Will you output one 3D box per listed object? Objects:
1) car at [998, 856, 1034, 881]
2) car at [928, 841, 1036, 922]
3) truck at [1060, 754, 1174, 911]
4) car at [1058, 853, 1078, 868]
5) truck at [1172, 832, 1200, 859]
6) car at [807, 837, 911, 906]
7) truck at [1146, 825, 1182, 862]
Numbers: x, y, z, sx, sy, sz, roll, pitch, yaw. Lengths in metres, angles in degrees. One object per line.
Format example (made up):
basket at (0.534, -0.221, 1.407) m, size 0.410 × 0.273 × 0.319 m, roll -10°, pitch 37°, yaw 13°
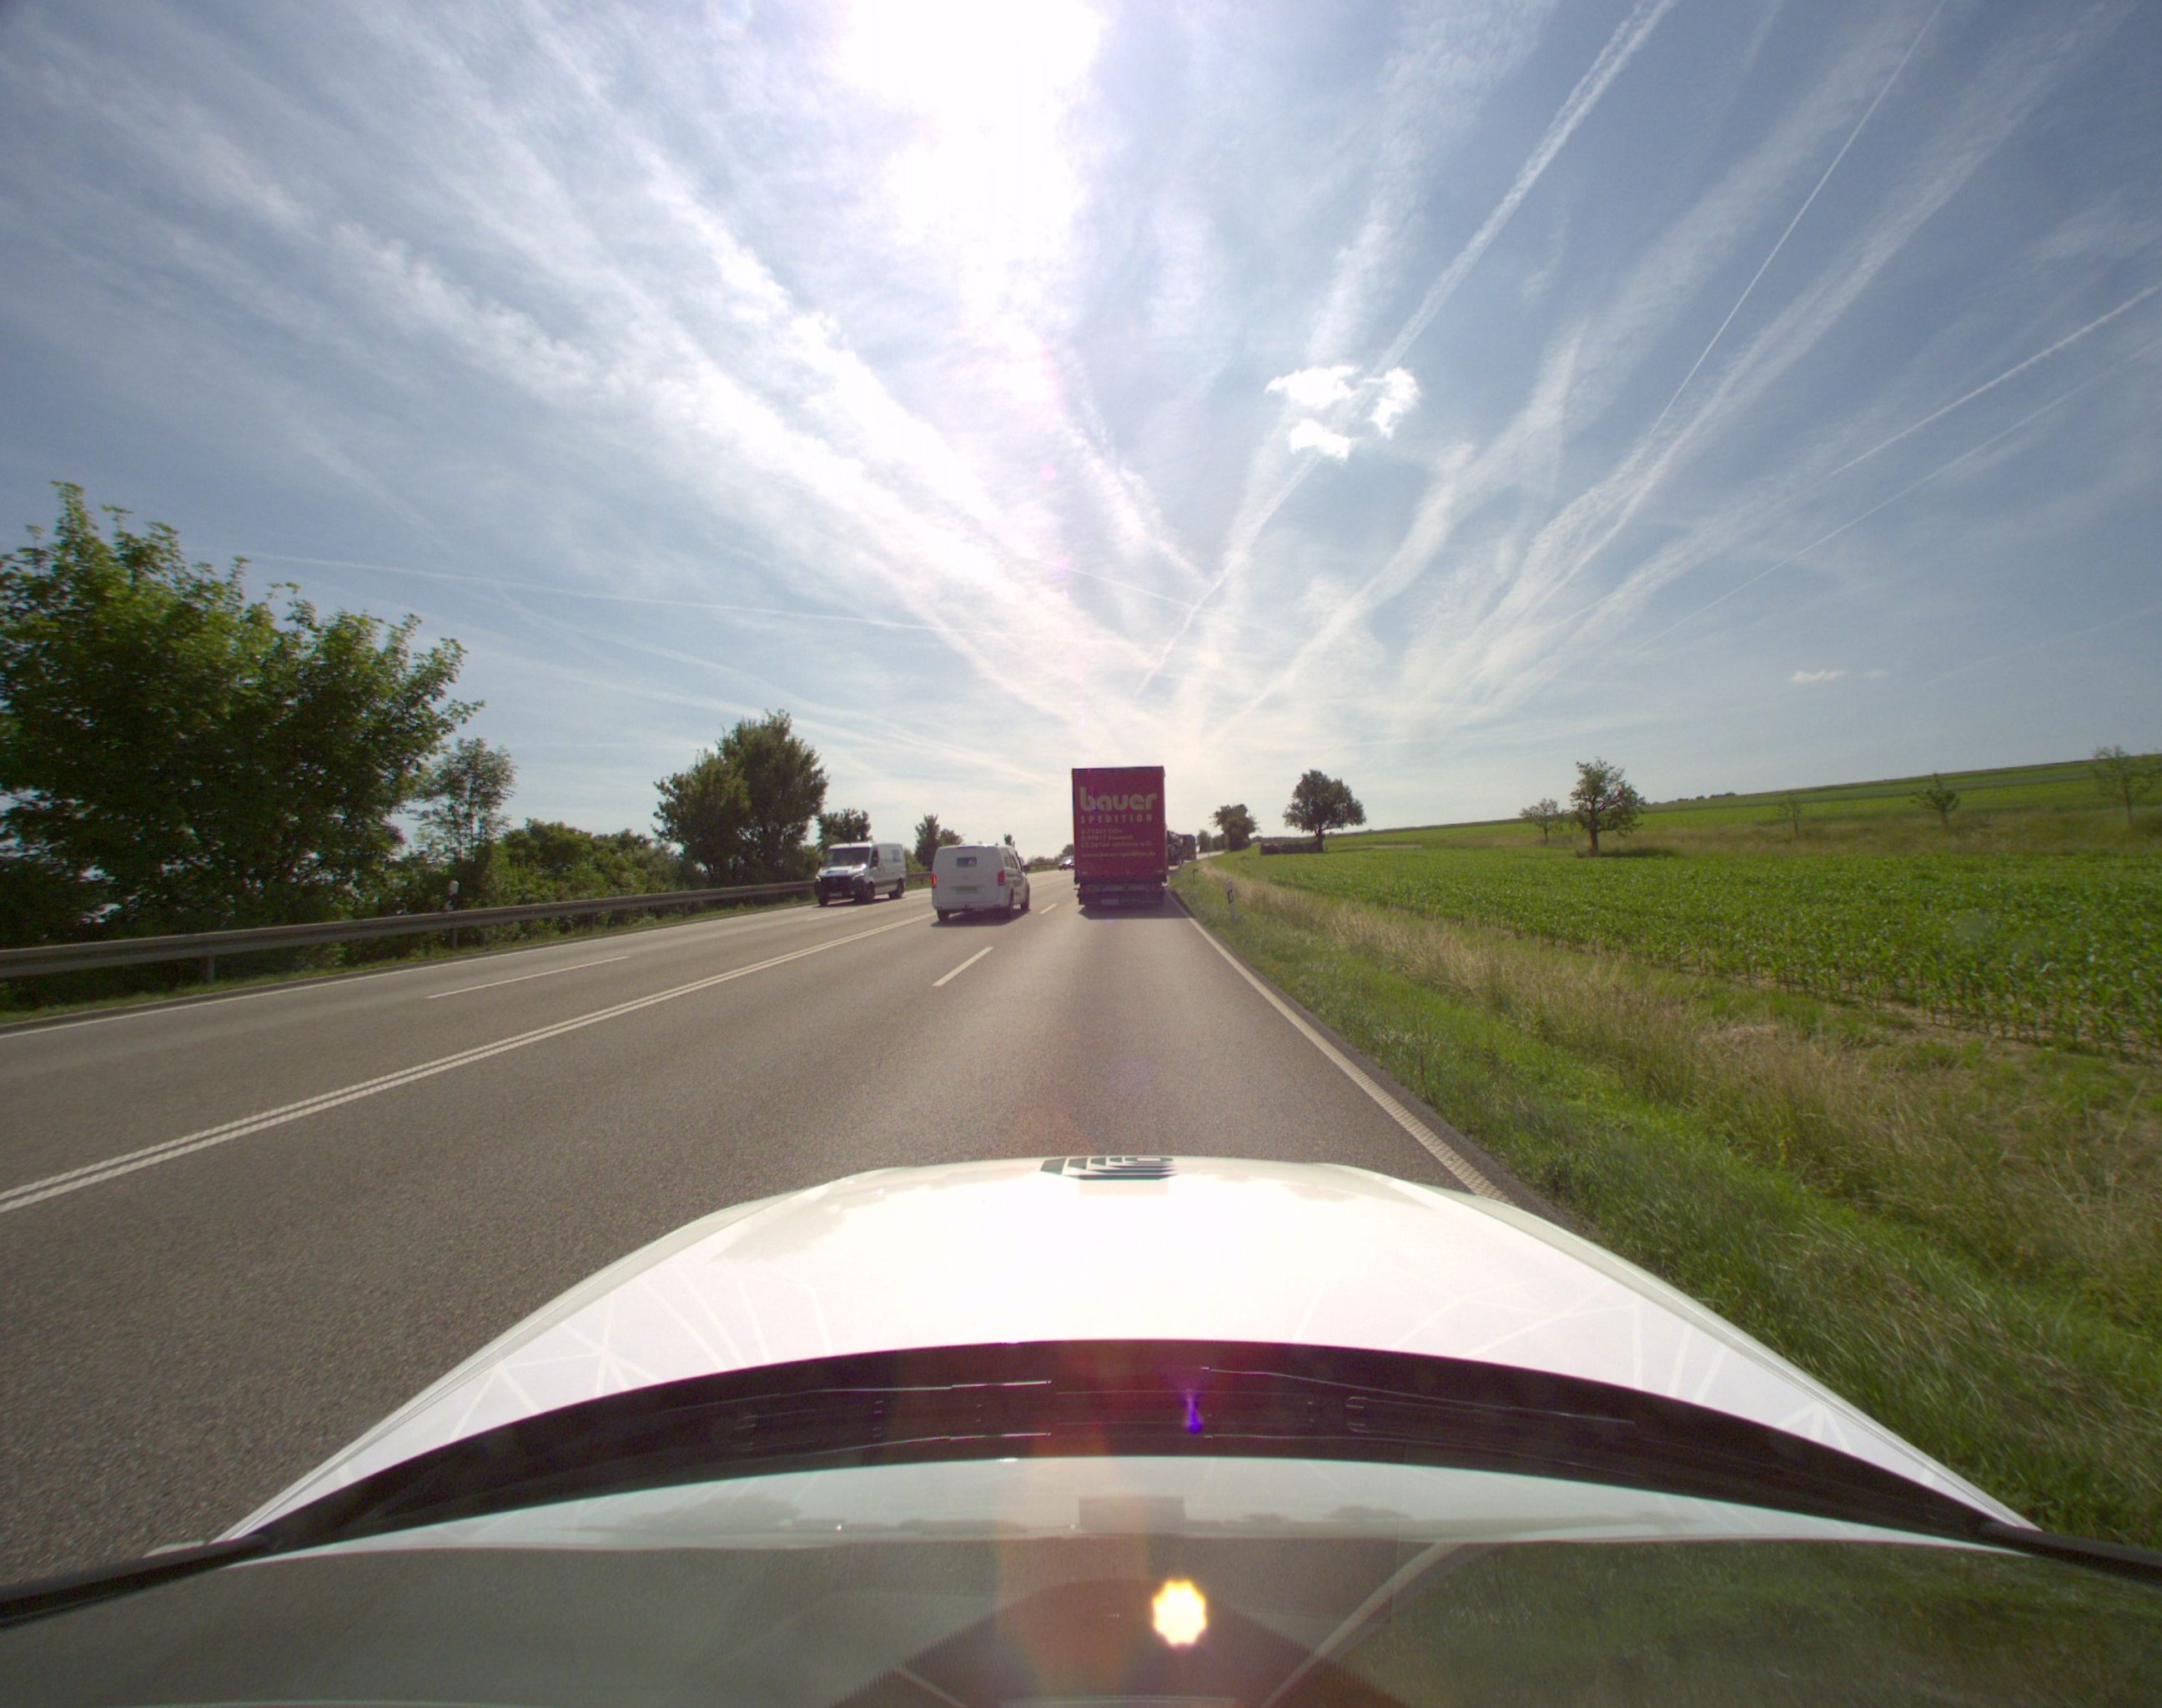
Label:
car at (-4.585, 0.987, 57.909) m, size 1.805 × 1.568 × 4.689 m, roll -2°, pitch 0°, yaw 4°
car at (-2.525, 0.660, 22.152) m, size 1.897 × 1.884 × 5.437 m, roll -2°, pitch 0°, yaw 4°
truck at (1.268, -0.591, 30.311) m, size 2.995 × 4.180 × 16.722 m, roll -1°, pitch 0°, yaw 2°
car at (-1.332, 0.663, 85.678) m, size 1.710 × 1.461 × 4.221 m, roll -1°, pitch 0°, yaw 5°
truck at (16.880, -1.310, 129.409) m, size 3.027 × 3.910 × 18.455 m, roll -2°, pitch 0°, yaw 11°
car at (-8.592, 0.642, 32.221) m, size 2.079 × 2.395 × 5.850 m, roll -2°, pitch -1°, yaw 4°
truck at (9.965, -1.216, 95.940) m, size 3.028 × 3.910 × 15.657 m, roll -2°, pitch 0°, yaw 9°
